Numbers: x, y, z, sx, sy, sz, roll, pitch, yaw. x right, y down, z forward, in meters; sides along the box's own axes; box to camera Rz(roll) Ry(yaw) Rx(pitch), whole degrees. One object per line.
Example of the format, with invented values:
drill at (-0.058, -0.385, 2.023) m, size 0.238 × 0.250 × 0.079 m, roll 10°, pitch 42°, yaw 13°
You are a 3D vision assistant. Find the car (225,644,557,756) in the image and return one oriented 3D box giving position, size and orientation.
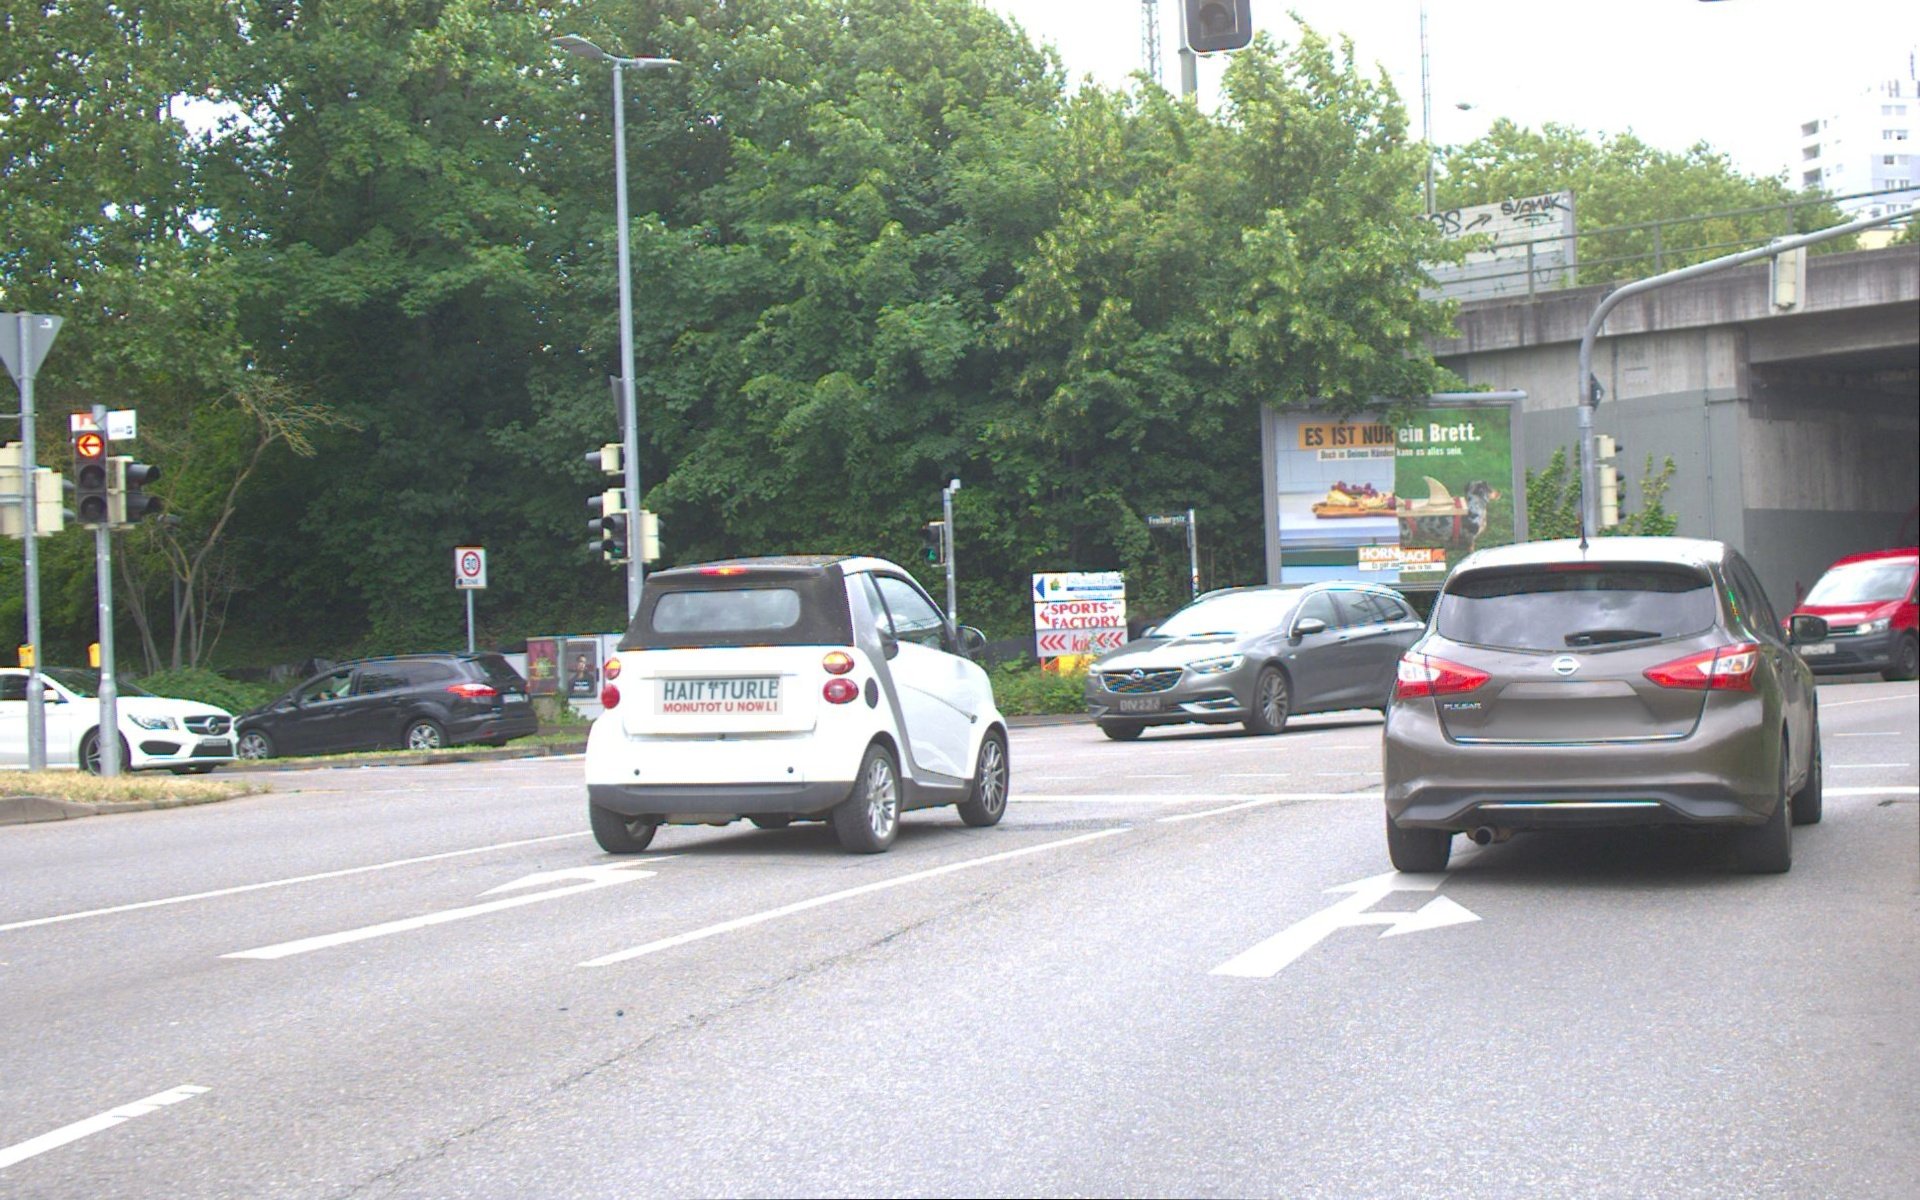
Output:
car at (-7.701, 1.361, 46.630) m, size 4.029 × 1.446 × 1.853 m, roll -1°, pitch -2°, yaw 17°

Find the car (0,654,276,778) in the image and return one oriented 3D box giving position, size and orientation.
car at (-10.508, 1.408, 40.549) m, size 4.410 × 1.334 × 1.997 m, roll -3°, pitch -3°, yaw 24°

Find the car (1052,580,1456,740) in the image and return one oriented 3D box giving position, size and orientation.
car at (2.979, 0.562, 34.020) m, size 1.769 × 1.415 × 4.411 m, roll -2°, pitch 0°, yaw 39°

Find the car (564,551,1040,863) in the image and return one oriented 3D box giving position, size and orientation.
car at (-0.786, 0.513, 18.822) m, size 1.577 × 1.552 × 3.014 m, roll 0°, pitch 1°, yaw 20°

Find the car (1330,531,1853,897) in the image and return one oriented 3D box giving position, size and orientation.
car at (3.170, 0.466, 16.601) m, size 1.846 × 1.488 × 3.996 m, roll -2°, pitch 1°, yaw 19°

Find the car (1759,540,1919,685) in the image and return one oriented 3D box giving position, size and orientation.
car at (12.620, 0.126, 46.394) m, size 1.691 × 1.819 × 4.716 m, roll -3°, pitch 0°, yaw 38°
